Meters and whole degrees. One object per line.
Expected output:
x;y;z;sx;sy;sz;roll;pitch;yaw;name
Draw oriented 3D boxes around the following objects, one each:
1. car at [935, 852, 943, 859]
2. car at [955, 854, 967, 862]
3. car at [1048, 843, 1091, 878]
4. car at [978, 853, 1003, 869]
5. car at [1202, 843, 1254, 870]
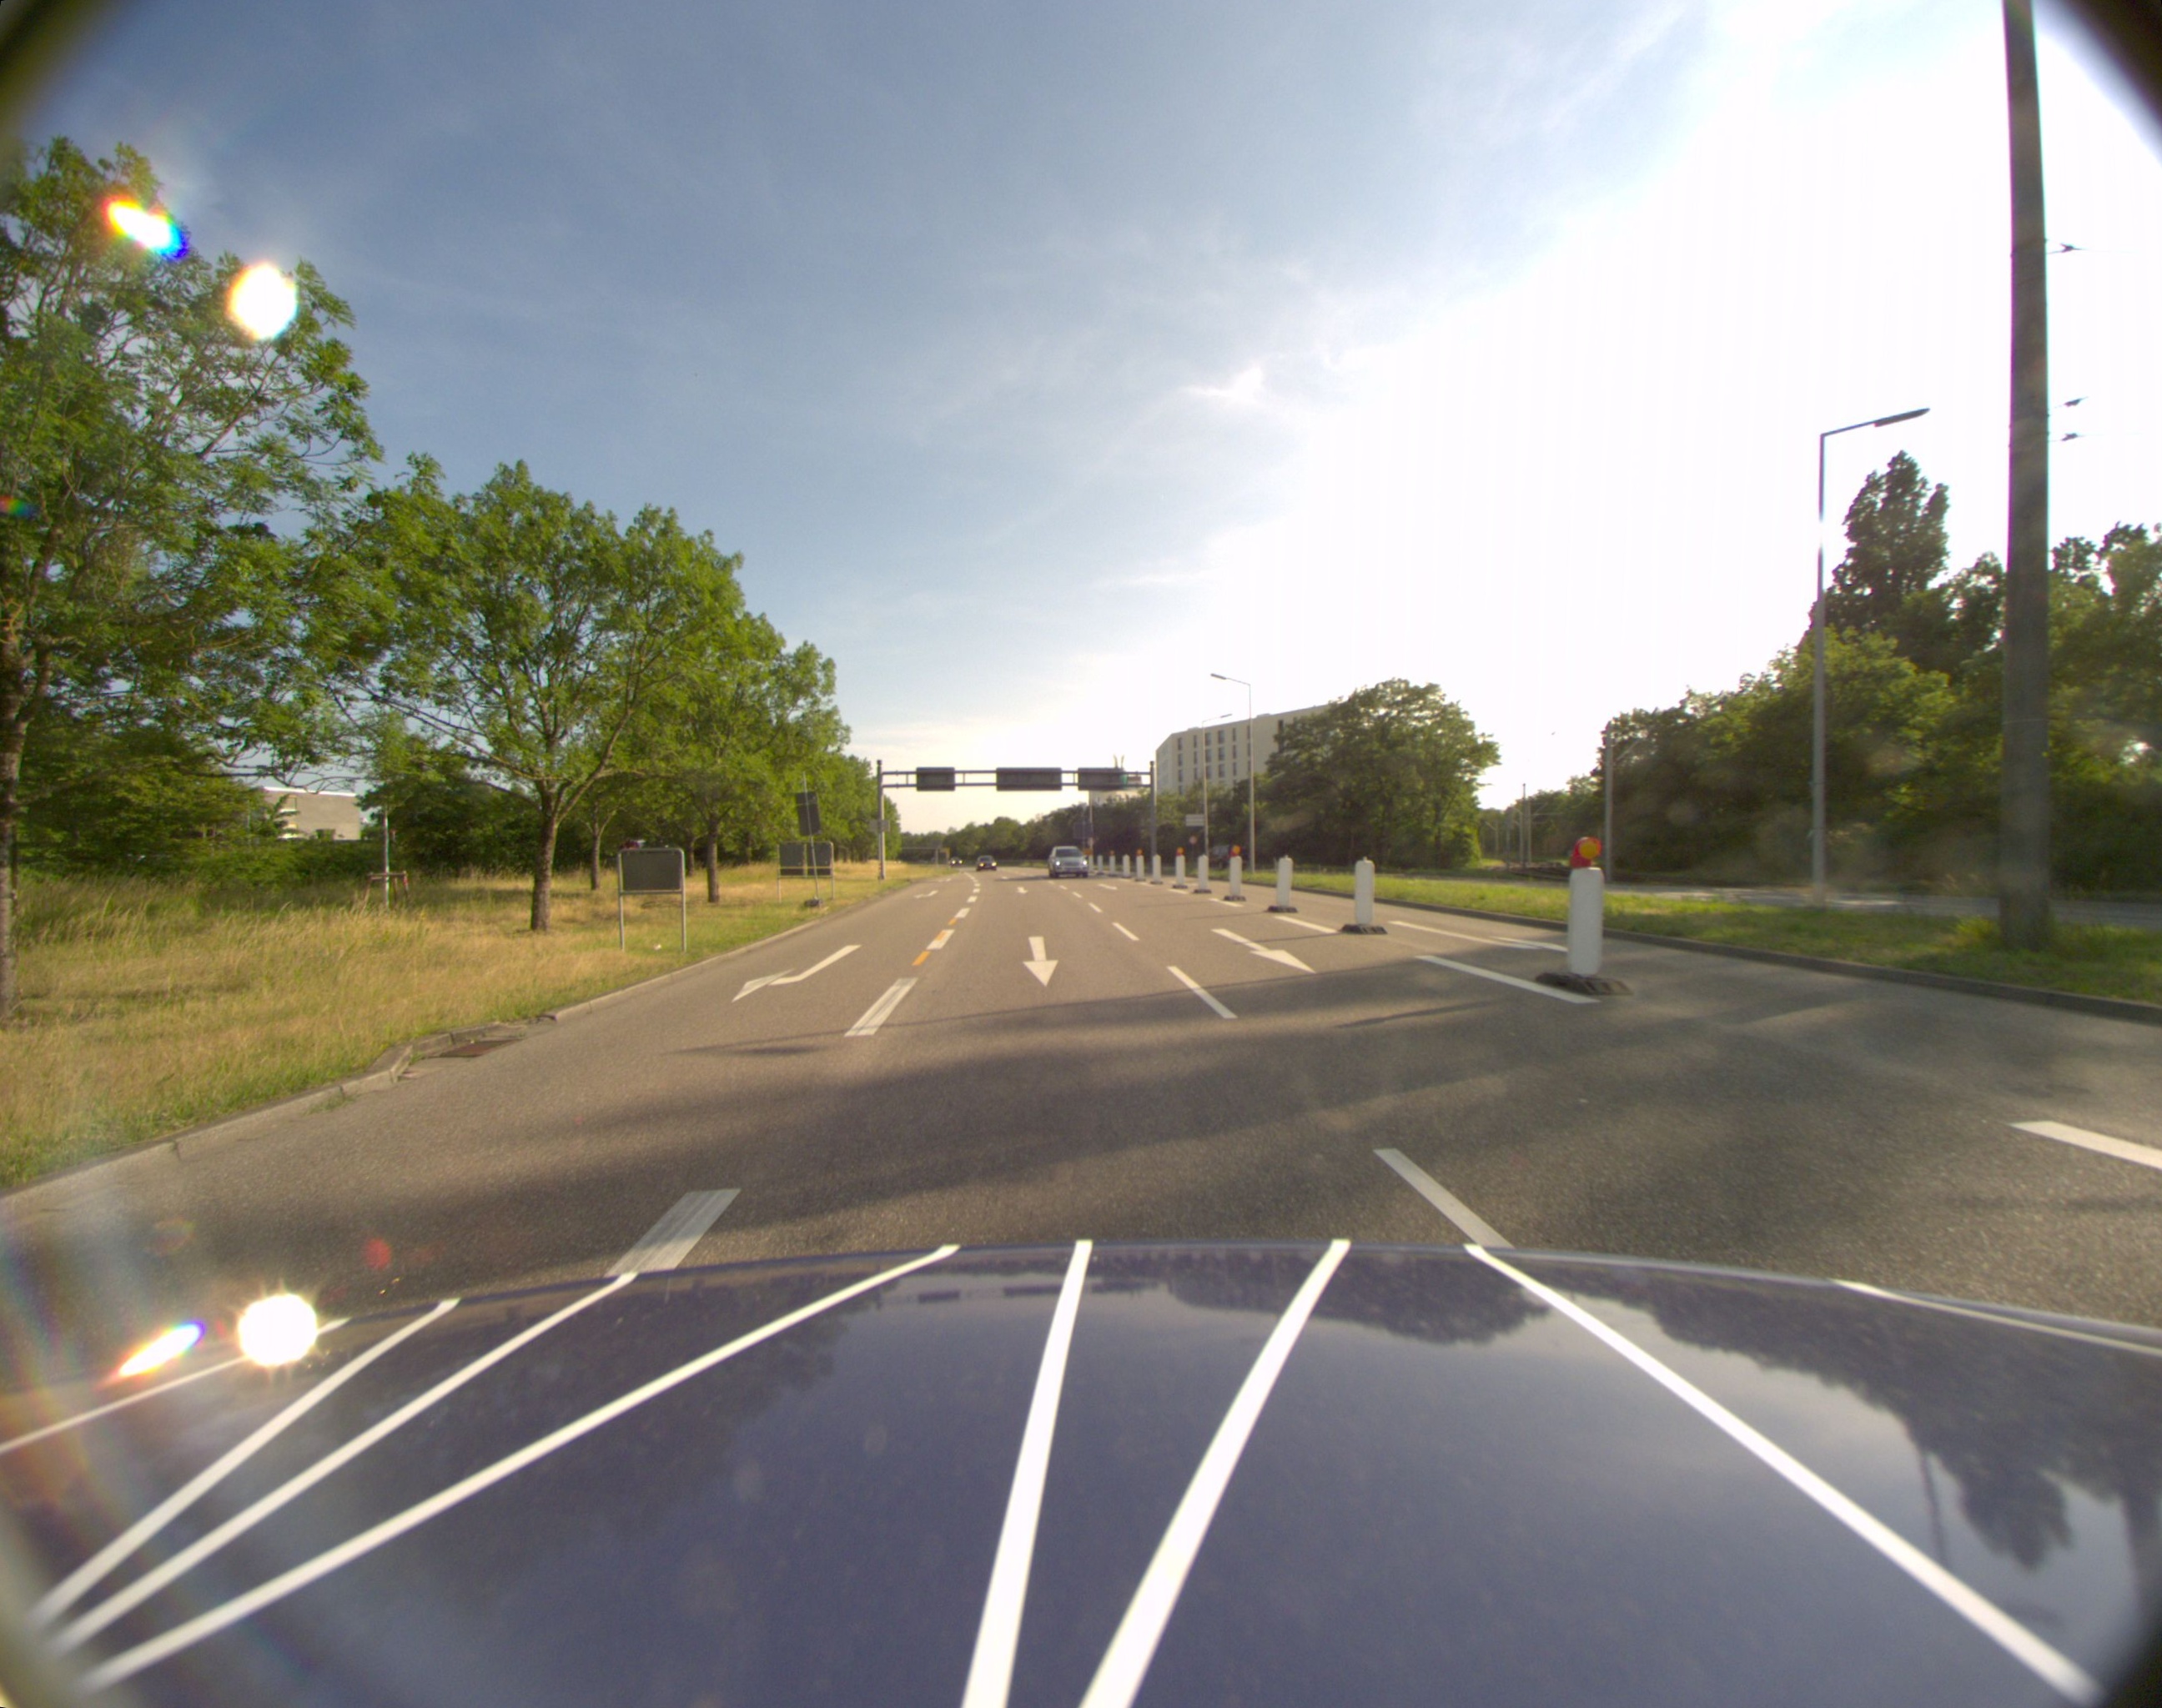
-41.087;0.483;220.448;1.792;1.796;4.117;-1;0;-17;car
-22.772;0.793;143.738;1.897;1.447;3.904;-1;1;-14;car
-0.714;0.361;44.322;1.902;1.813;4.352;-3;1;-8;car
-8.646;0.685;72.541;1.903;1.377;4.351;-3;1;-12;car
11.127;0.162;57.931;2.000;2.002;5.352;-1;1;-11;car
